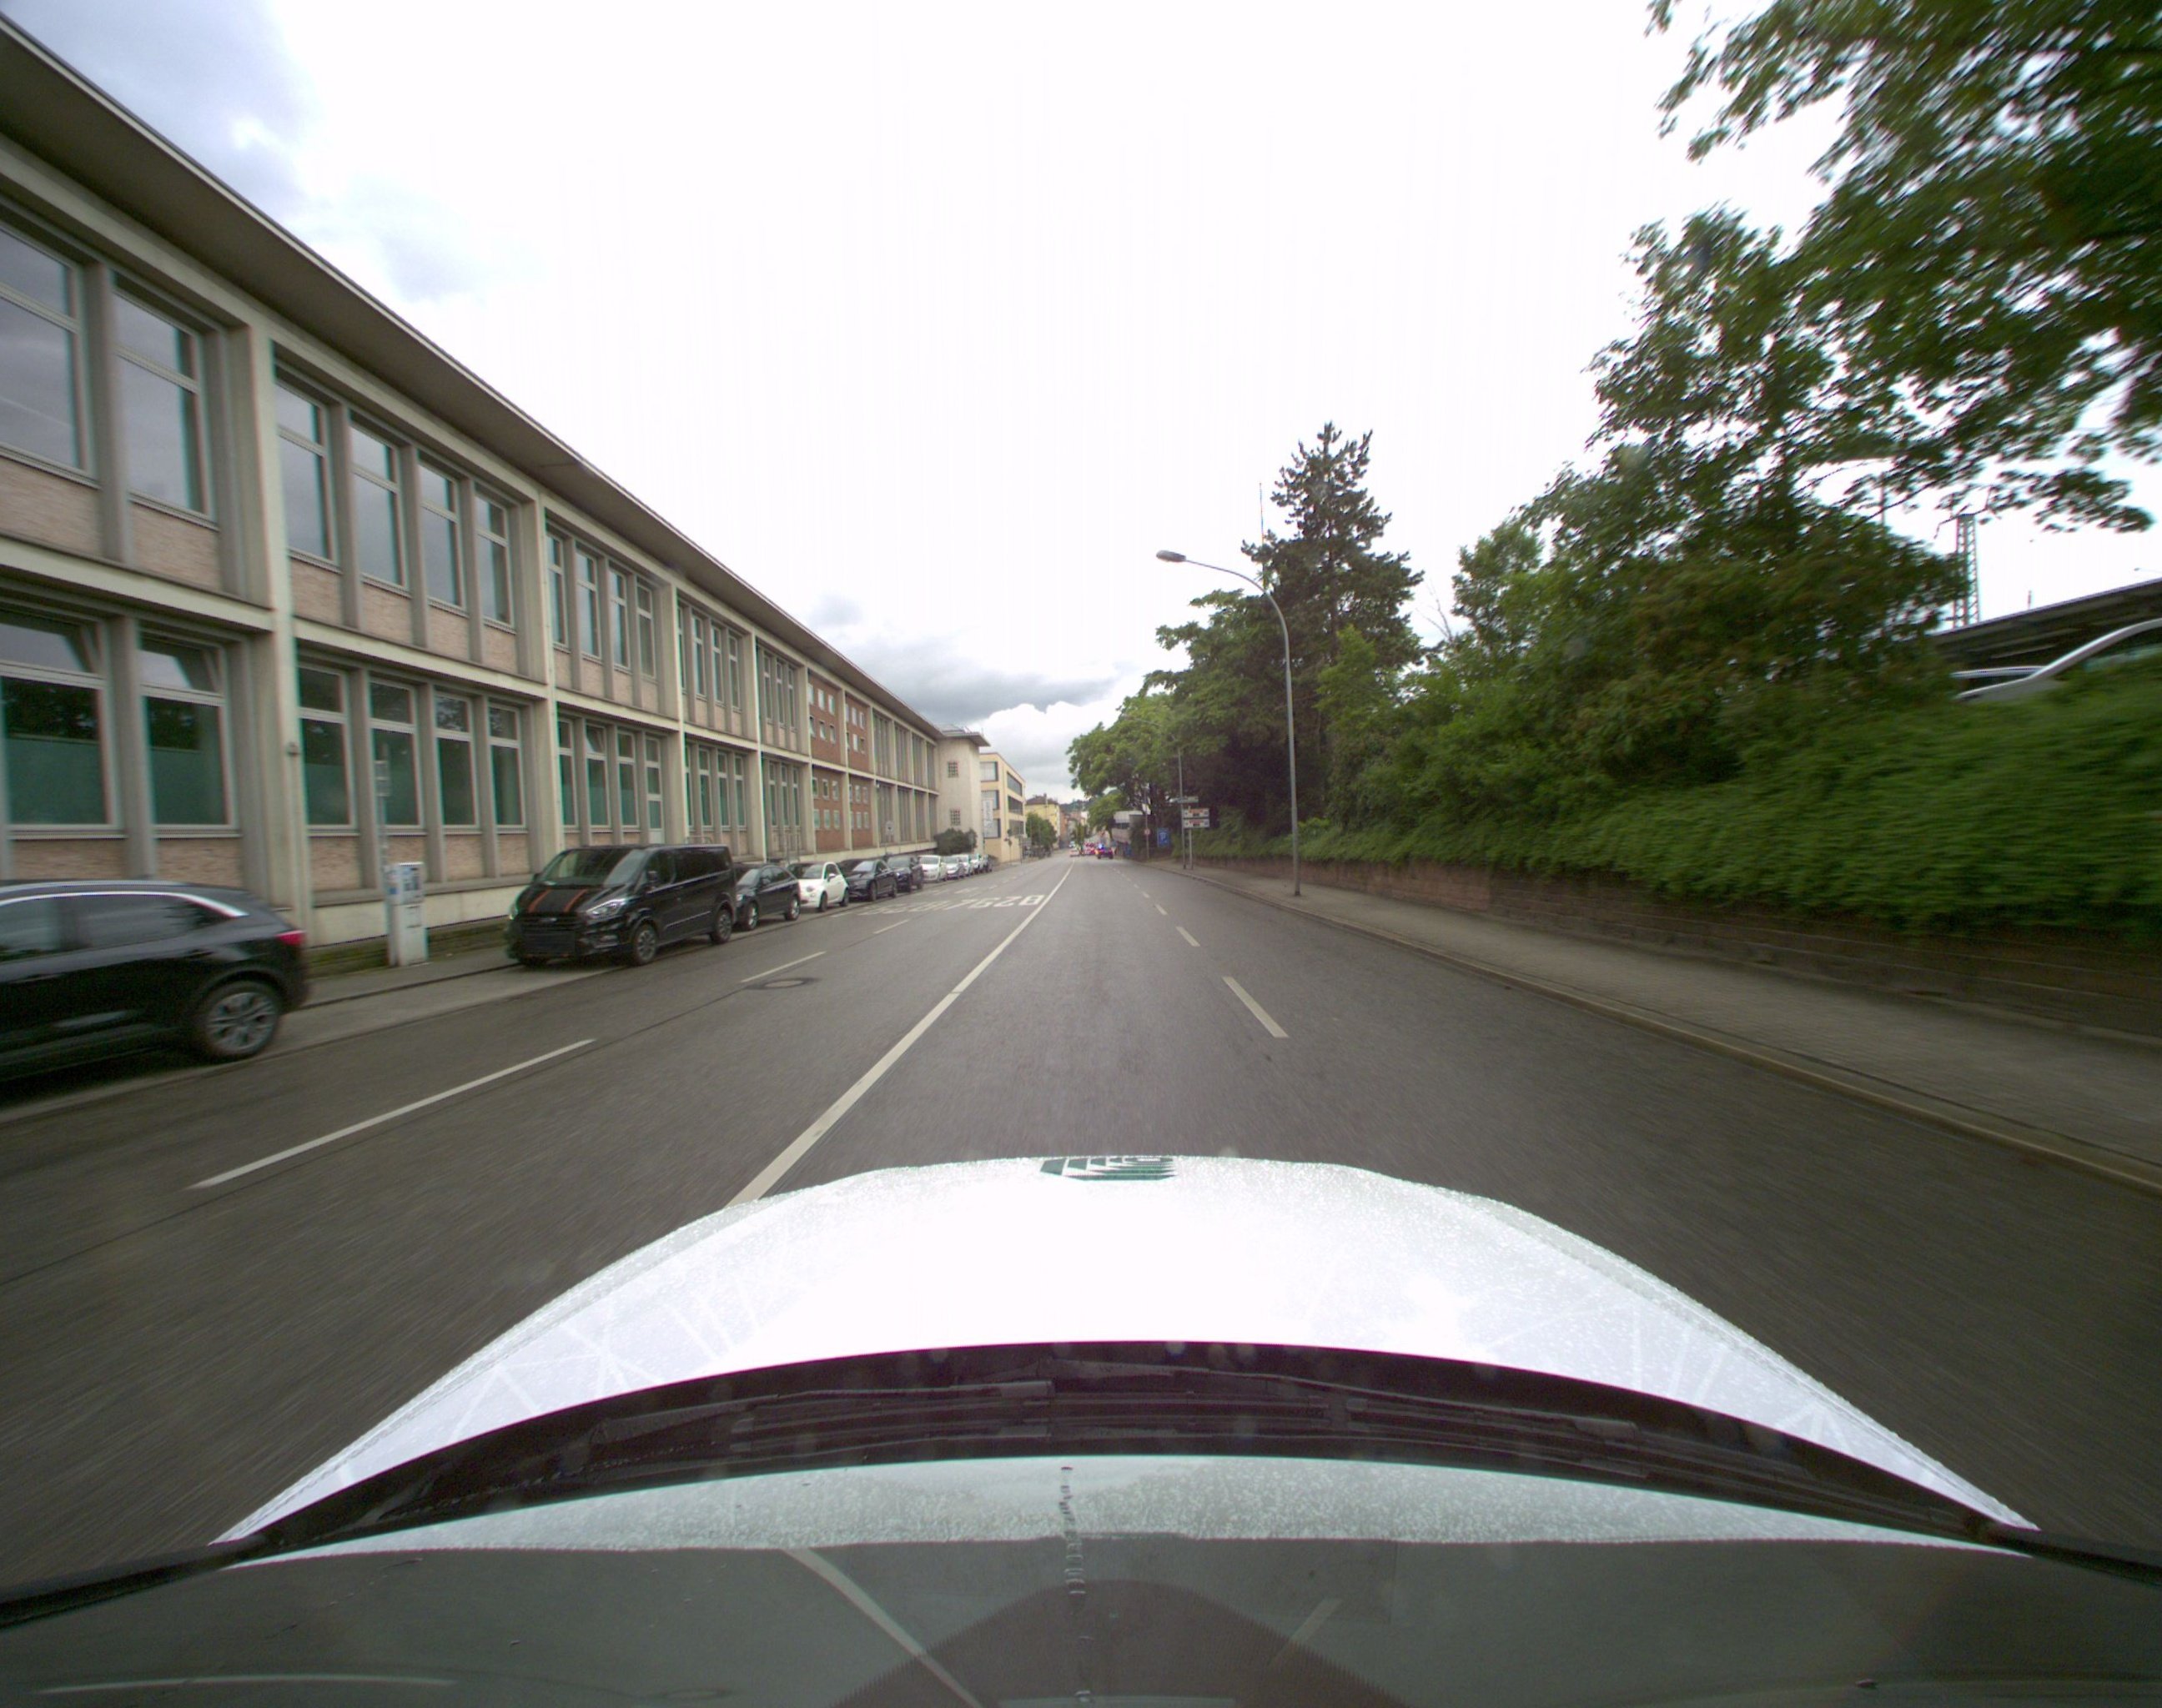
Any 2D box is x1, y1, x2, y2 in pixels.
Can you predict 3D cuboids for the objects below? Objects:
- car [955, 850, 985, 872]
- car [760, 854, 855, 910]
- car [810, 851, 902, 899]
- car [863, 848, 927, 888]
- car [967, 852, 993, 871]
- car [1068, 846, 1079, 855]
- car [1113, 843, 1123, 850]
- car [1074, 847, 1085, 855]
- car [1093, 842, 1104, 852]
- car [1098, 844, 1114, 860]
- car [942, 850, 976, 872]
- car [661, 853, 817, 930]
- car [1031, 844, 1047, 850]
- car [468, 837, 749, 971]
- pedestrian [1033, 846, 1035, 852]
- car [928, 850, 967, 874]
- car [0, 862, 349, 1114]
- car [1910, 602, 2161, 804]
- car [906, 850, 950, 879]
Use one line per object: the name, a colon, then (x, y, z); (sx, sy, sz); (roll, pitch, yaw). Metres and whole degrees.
car: (-8.347, 0.524, 61.479); (1.742, 1.597, 4.180); (0, 0, 0)
car: (-8.275, 0.793, 24.936); (1.560, 1.483, 3.554); (-2, 1, 2)
car: (-8.074, 0.696, 29.754); (1.809, 1.483, 4.912); (-2, 1, 2)
car: (-8.158, 0.591, 36.193); (1.836, 1.653, 4.514); (-1, 0, -1)
car: (-8.228, 0.583, 66.664); (1.743, 1.480, 4.179); (0, 0, -1)
car: (-1.482, -0.678, 163.168); (1.990, 1.680, 3.993); (-2, 1, -5)
car: (9.709, -2.066, 212.962); (1.979, 1.679, 4.015); (-3, 1, 13)
car: (-0.309, -0.694, 171.230); (1.990, 1.680, 3.993); (-2, 1, -5)
car: (3.534, -1.398, 165.826); (1.987, 1.837, 4.000); (-4, 1, 0)
car: (3.535, -0.280, 114.848); (2.084, 1.910, 4.101); (-4, 2, 1)
car: (-8.370, 0.435, 56.163); (1.743, 1.454, 4.179); (0, 0, -1)
car: (-8.285, 0.837, 20.213); (1.854, 1.551, 4.314); (-2, 1, 2)
car: (-9.960, -1.616, 192.192); (3.650, 1.234, 1.438); (-3, 1, -6)
car: (-8.049, 0.701, 14.619); (1.941, 1.943, 4.998); (-2, 1, 2)
pedestrian: (-10.629, -1.086, 183.711); (0.451, 1.278, 0.455); (-2, 1, 11)
car: (-8.279, 0.483, 50.702); (1.743, 1.435, 4.484); (0, 0, -1)
car: (-8.397, 0.992, 5.931); (1.790, 1.675, 4.605); (-2, 1, 2)
car: (13.337, -1.865, 10.201); (3.949, 2.219, 2.013); (-1, 1, 41)
car: (-8.492, 0.541, 45.475); (1.673, 1.522, 3.921); (-2, 0, 0)
